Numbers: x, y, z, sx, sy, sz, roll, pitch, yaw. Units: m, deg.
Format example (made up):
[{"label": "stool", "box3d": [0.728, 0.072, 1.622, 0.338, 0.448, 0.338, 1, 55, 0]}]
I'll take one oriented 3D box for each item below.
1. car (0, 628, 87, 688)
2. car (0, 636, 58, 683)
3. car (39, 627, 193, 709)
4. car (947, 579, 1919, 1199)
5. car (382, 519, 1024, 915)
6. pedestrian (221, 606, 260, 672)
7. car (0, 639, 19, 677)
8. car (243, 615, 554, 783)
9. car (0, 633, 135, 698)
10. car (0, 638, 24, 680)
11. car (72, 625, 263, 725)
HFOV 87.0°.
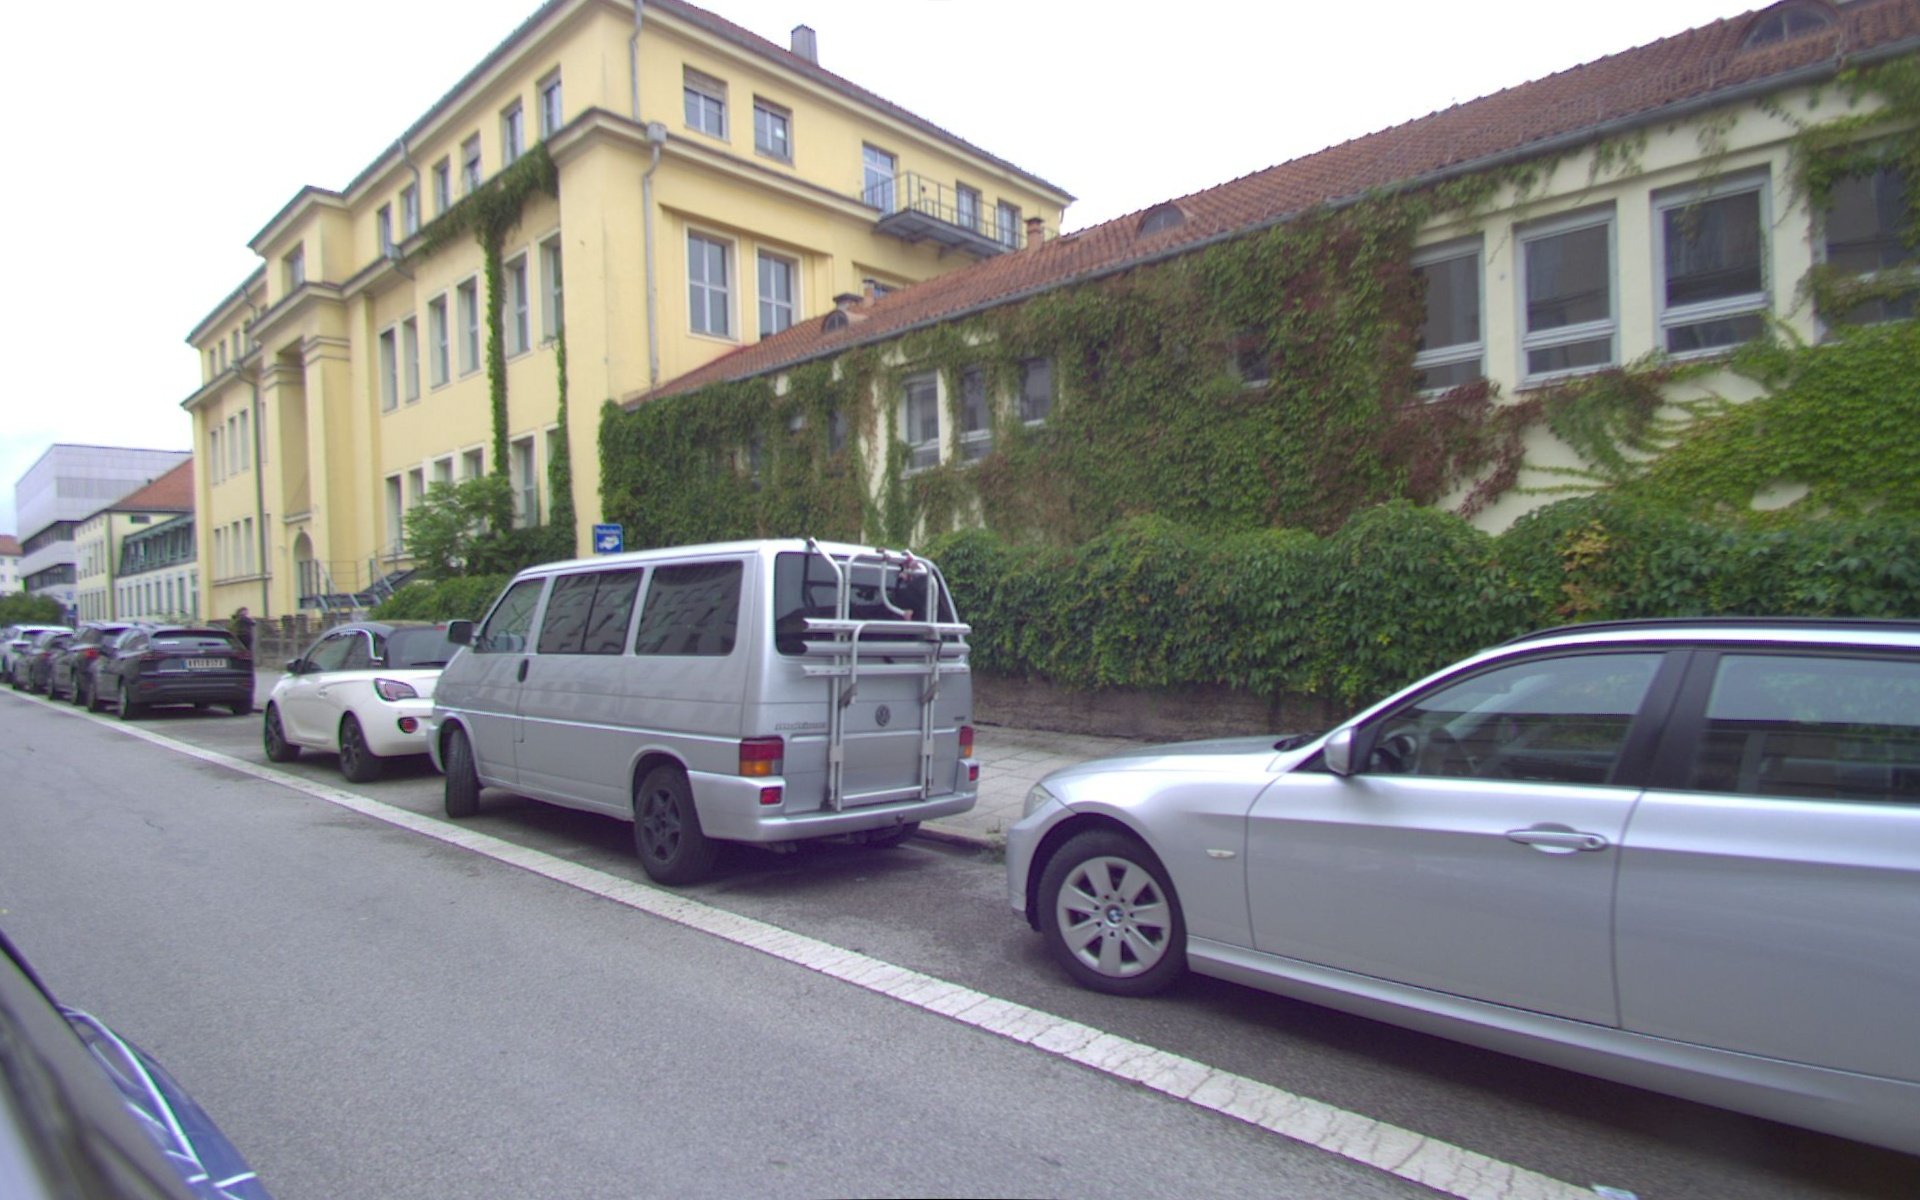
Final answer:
[{"label": "car", "box3d": [-27.342, 1.697, 29.766, 4.295, 1.653, 1.764, -2, -4, 39]}, {"label": "car", "box3d": [-31.187, 1.941, 33.329, 3.913, 1.457, 1.591, -2, -4, 39]}, {"label": "car", "box3d": [-17.302, 1.341, 20.677, 4.271, 1.514, 1.751, -2, -3, 41]}, {"label": "car", "box3d": [2.212, 0.716, 3.327, 4.490, 1.388, 1.784, -2, -5, 42]}, {"label": "car", "box3d": [-2.052, 0.660, 6.996, 4.879, 1.812, 1.873, -3, -5, 42]}, {"label": "pedestrian", "box3d": [-20.577, 1.109, 28.951, 0.766, 1.838, 0.782, -1, -1, -45]}, {"label": "car", "box3d": [-38.732, 2.304, 40.133, 4.111, 1.457, 1.668, -2, -3, 42]}, {"label": "car", "box3d": [-5.838, 0.921, 10.388, 3.556, 1.420, 1.649, -2, -3, 41]}, {"label": "car", "box3d": [-21.536, 1.563, 24.330, 4.597, 1.419, 1.755, -3, -4, 40]}, {"label": "car", "box3d": [-35.026, 2.121, 36.355, 3.778, 1.450, 1.715, -3, -3, 42]}, {"label": "car", "box3d": [-13.519, 1.237, 17.176, 4.217, 1.492, 1.699, -2, -5, 41]}]
